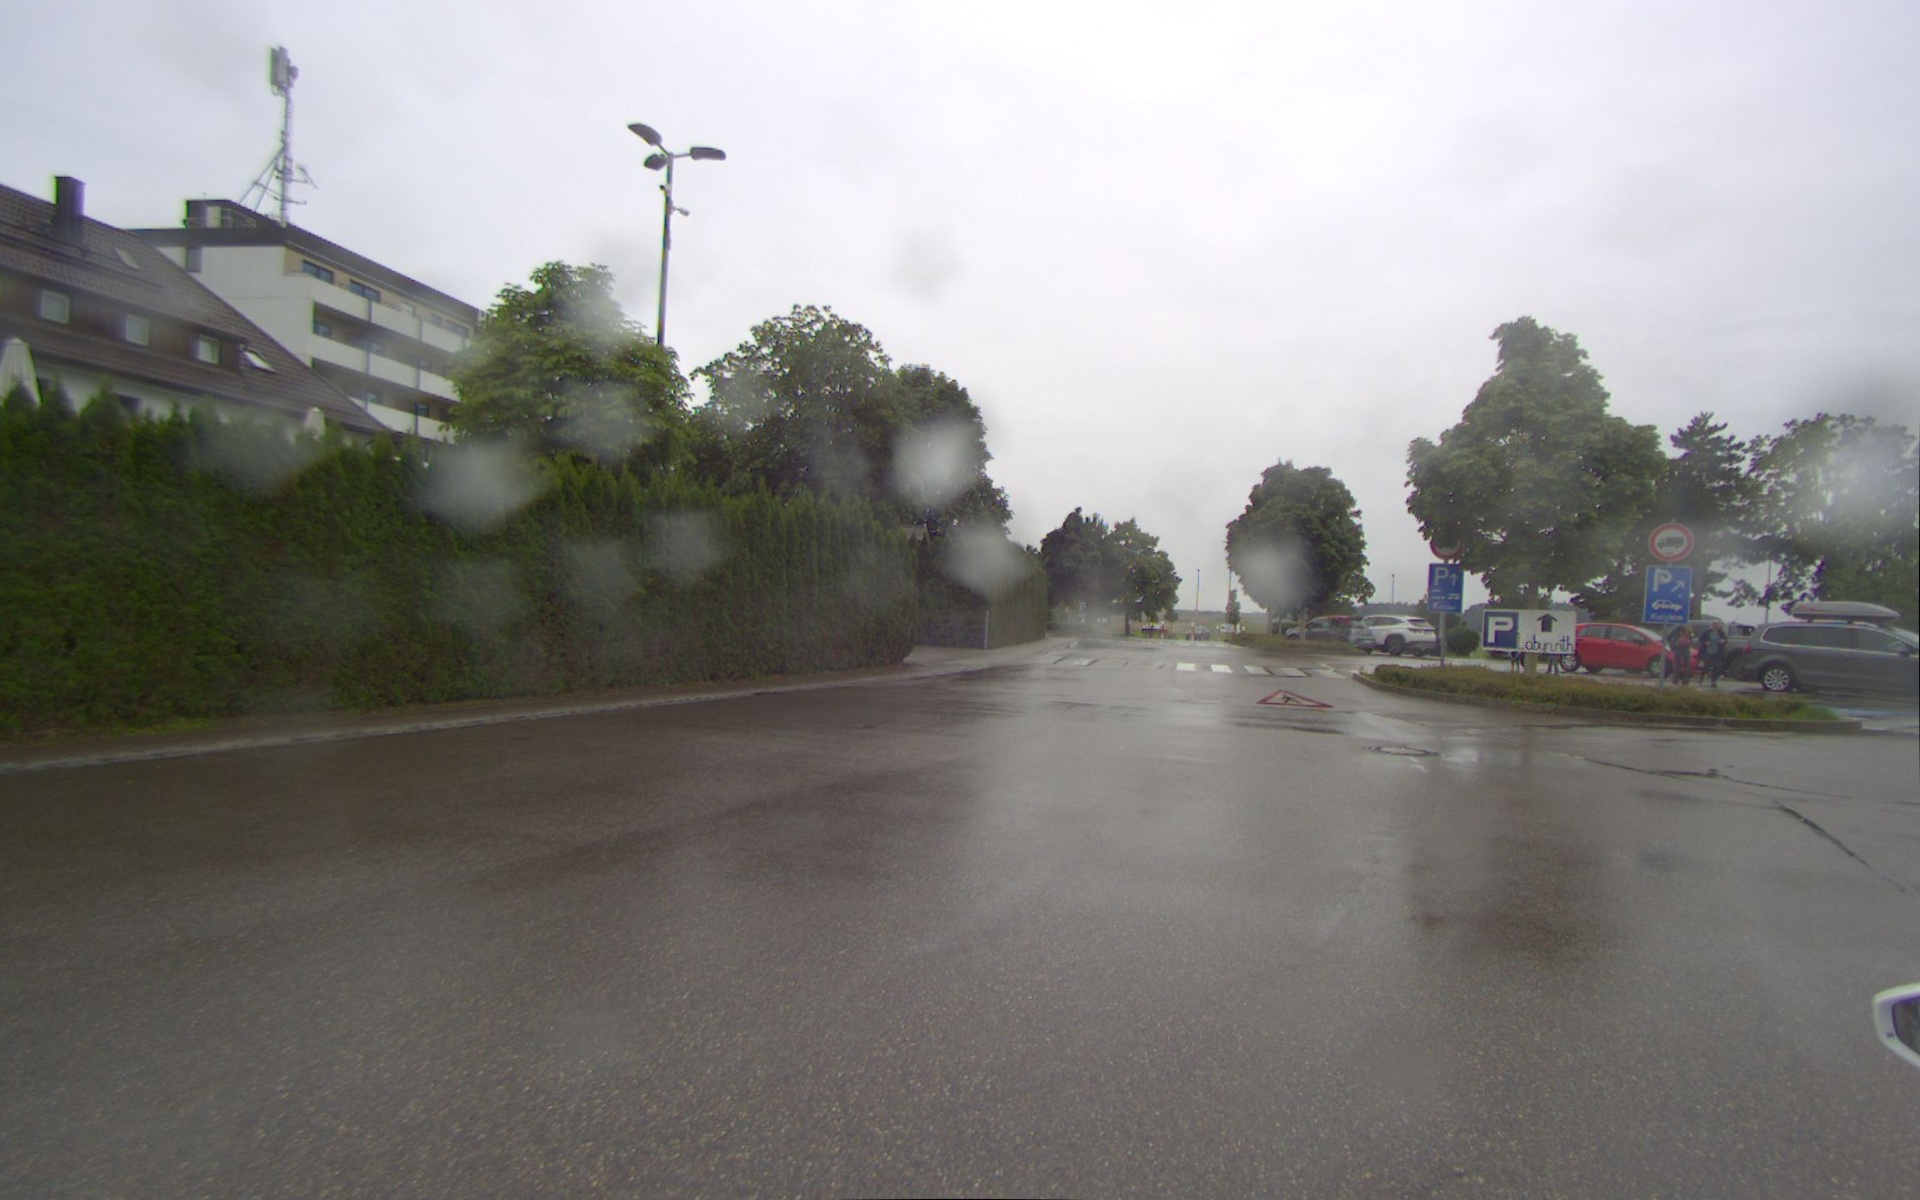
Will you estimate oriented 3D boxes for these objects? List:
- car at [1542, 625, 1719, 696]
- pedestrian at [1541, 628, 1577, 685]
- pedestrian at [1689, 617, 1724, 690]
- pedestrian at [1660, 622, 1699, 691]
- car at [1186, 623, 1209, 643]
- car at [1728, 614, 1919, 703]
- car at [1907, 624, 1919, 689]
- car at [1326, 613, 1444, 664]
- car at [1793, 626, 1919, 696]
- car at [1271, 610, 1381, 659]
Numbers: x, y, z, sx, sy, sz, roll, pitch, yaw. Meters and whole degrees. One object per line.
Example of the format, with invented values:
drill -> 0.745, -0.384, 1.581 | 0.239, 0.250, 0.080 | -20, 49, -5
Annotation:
car -> 19.867, 1.746, 29.915 | 1.830, 1.816, 3.989 | 2, 0, -31
pedestrian -> 15.282, 1.434, 25.637 | 0.632, 1.379, 0.452 | 4, -1, 18
pedestrian -> 18.620, 1.336, 25.070 | 0.601, 1.747, 0.681 | 4, -1, 36
pedestrian -> 17.974, 1.397, 25.099 | 0.704, 1.660, 0.645 | 2, -2, 34
car -> 27.253, 3.797, 115.188 | 1.677, 2.040, 3.998 | 4, -1, 25
car -> 20.779, 1.310, 22.827 | 1.978, 1.816, 4.909 | 2, 0, -31
car -> 29.836, 1.742, 28.464 | 1.830, 1.886, 3.989 | 4, -2, -31
car -> 17.660, 1.570, 41.928 | 1.702, 1.886, 4.331 | 4, -2, -31
car -> 23.023, 1.483, 24.216 | 1.722, 1.537, 4.164 | 1, 0, -29
car -> 14.845, 1.365, 40.954 | 1.702, 1.738, 3.992 | 4, -2, -31
